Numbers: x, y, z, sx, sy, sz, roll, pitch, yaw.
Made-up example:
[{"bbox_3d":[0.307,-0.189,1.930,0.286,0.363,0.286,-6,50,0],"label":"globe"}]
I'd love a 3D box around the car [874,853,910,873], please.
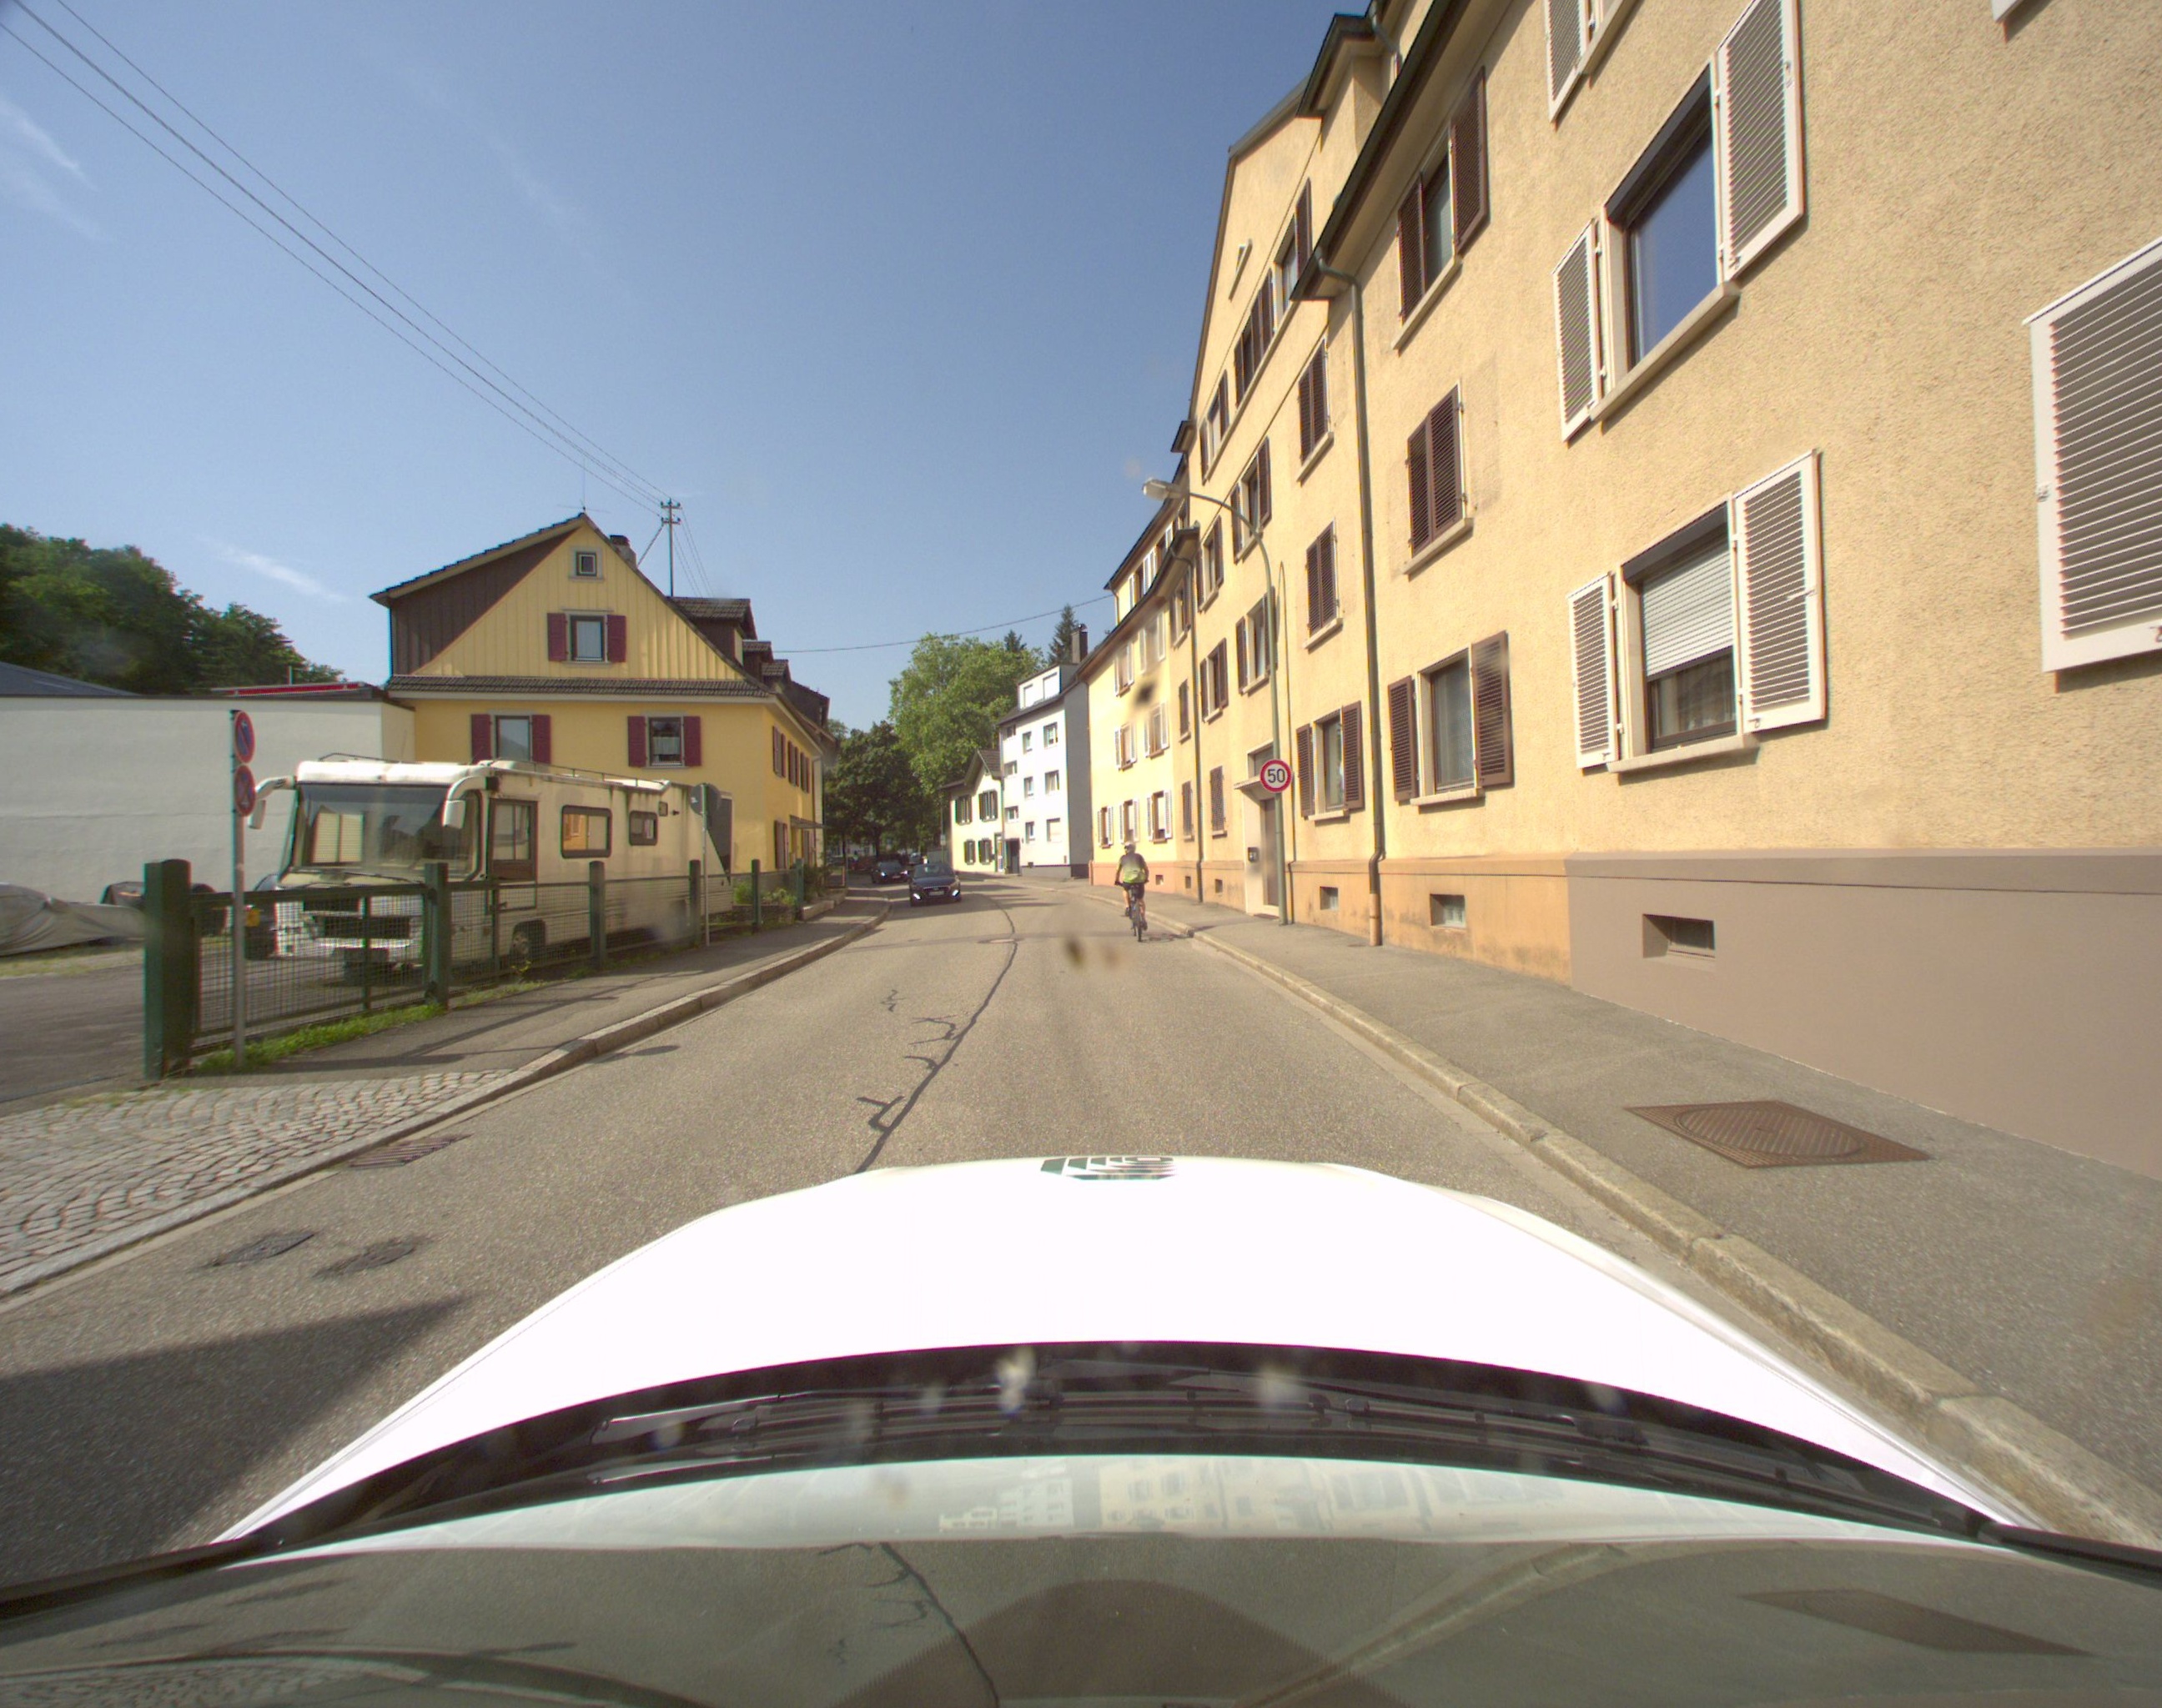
[{"bbox_3d":[-18.168,0.829,78.175,1.837,1.791,3.954,-3,2,-39],"label":"car"}]

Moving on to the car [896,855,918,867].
[{"bbox_3d":[-19.523,0.808,91.320,1.591,1.257,3.825,-3,1,-26],"label":"car"}]

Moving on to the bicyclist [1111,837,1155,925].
[{"bbox_3d":[0.936,0.484,14.762,0.683,1.531,0.715,-3,-1,0],"label":"bicyclist"}]

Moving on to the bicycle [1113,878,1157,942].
[{"bbox_3d":[0.956,0.992,14.794,0.696,1.035,1.471,-1,0,0],"label":"bicycle"}]

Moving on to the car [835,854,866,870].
[{"bbox_3d":[-24.787,0.820,87.620,1.722,1.542,3.954,-3,2,-39],"label":"car"}]

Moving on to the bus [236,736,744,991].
[{"bbox_3d":[-9.379,0.123,14.881,2.812,3.228,9.031,0,0,-1],"label":"bus"}]

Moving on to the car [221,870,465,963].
[{"bbox_3d":[-13.313,1.033,15.052,1.769,1.432,3.977,0,-1,-17],"label":"car"}]

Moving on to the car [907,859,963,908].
[{"bbox_3d":[-5.272,1.016,29.819,1.747,1.453,4.016,-6,1,-8],"label":"car"}]

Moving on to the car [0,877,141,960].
[{"bbox_3d":[-18.678,1.109,13.504,1.589,1.269,3.998,0,1,-2],"label":"car"}]

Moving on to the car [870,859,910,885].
[{"bbox_3d":[-12.478,1.193,53.085,1.667,1.449,4.224,-5,1,-24],"label":"car"}]
